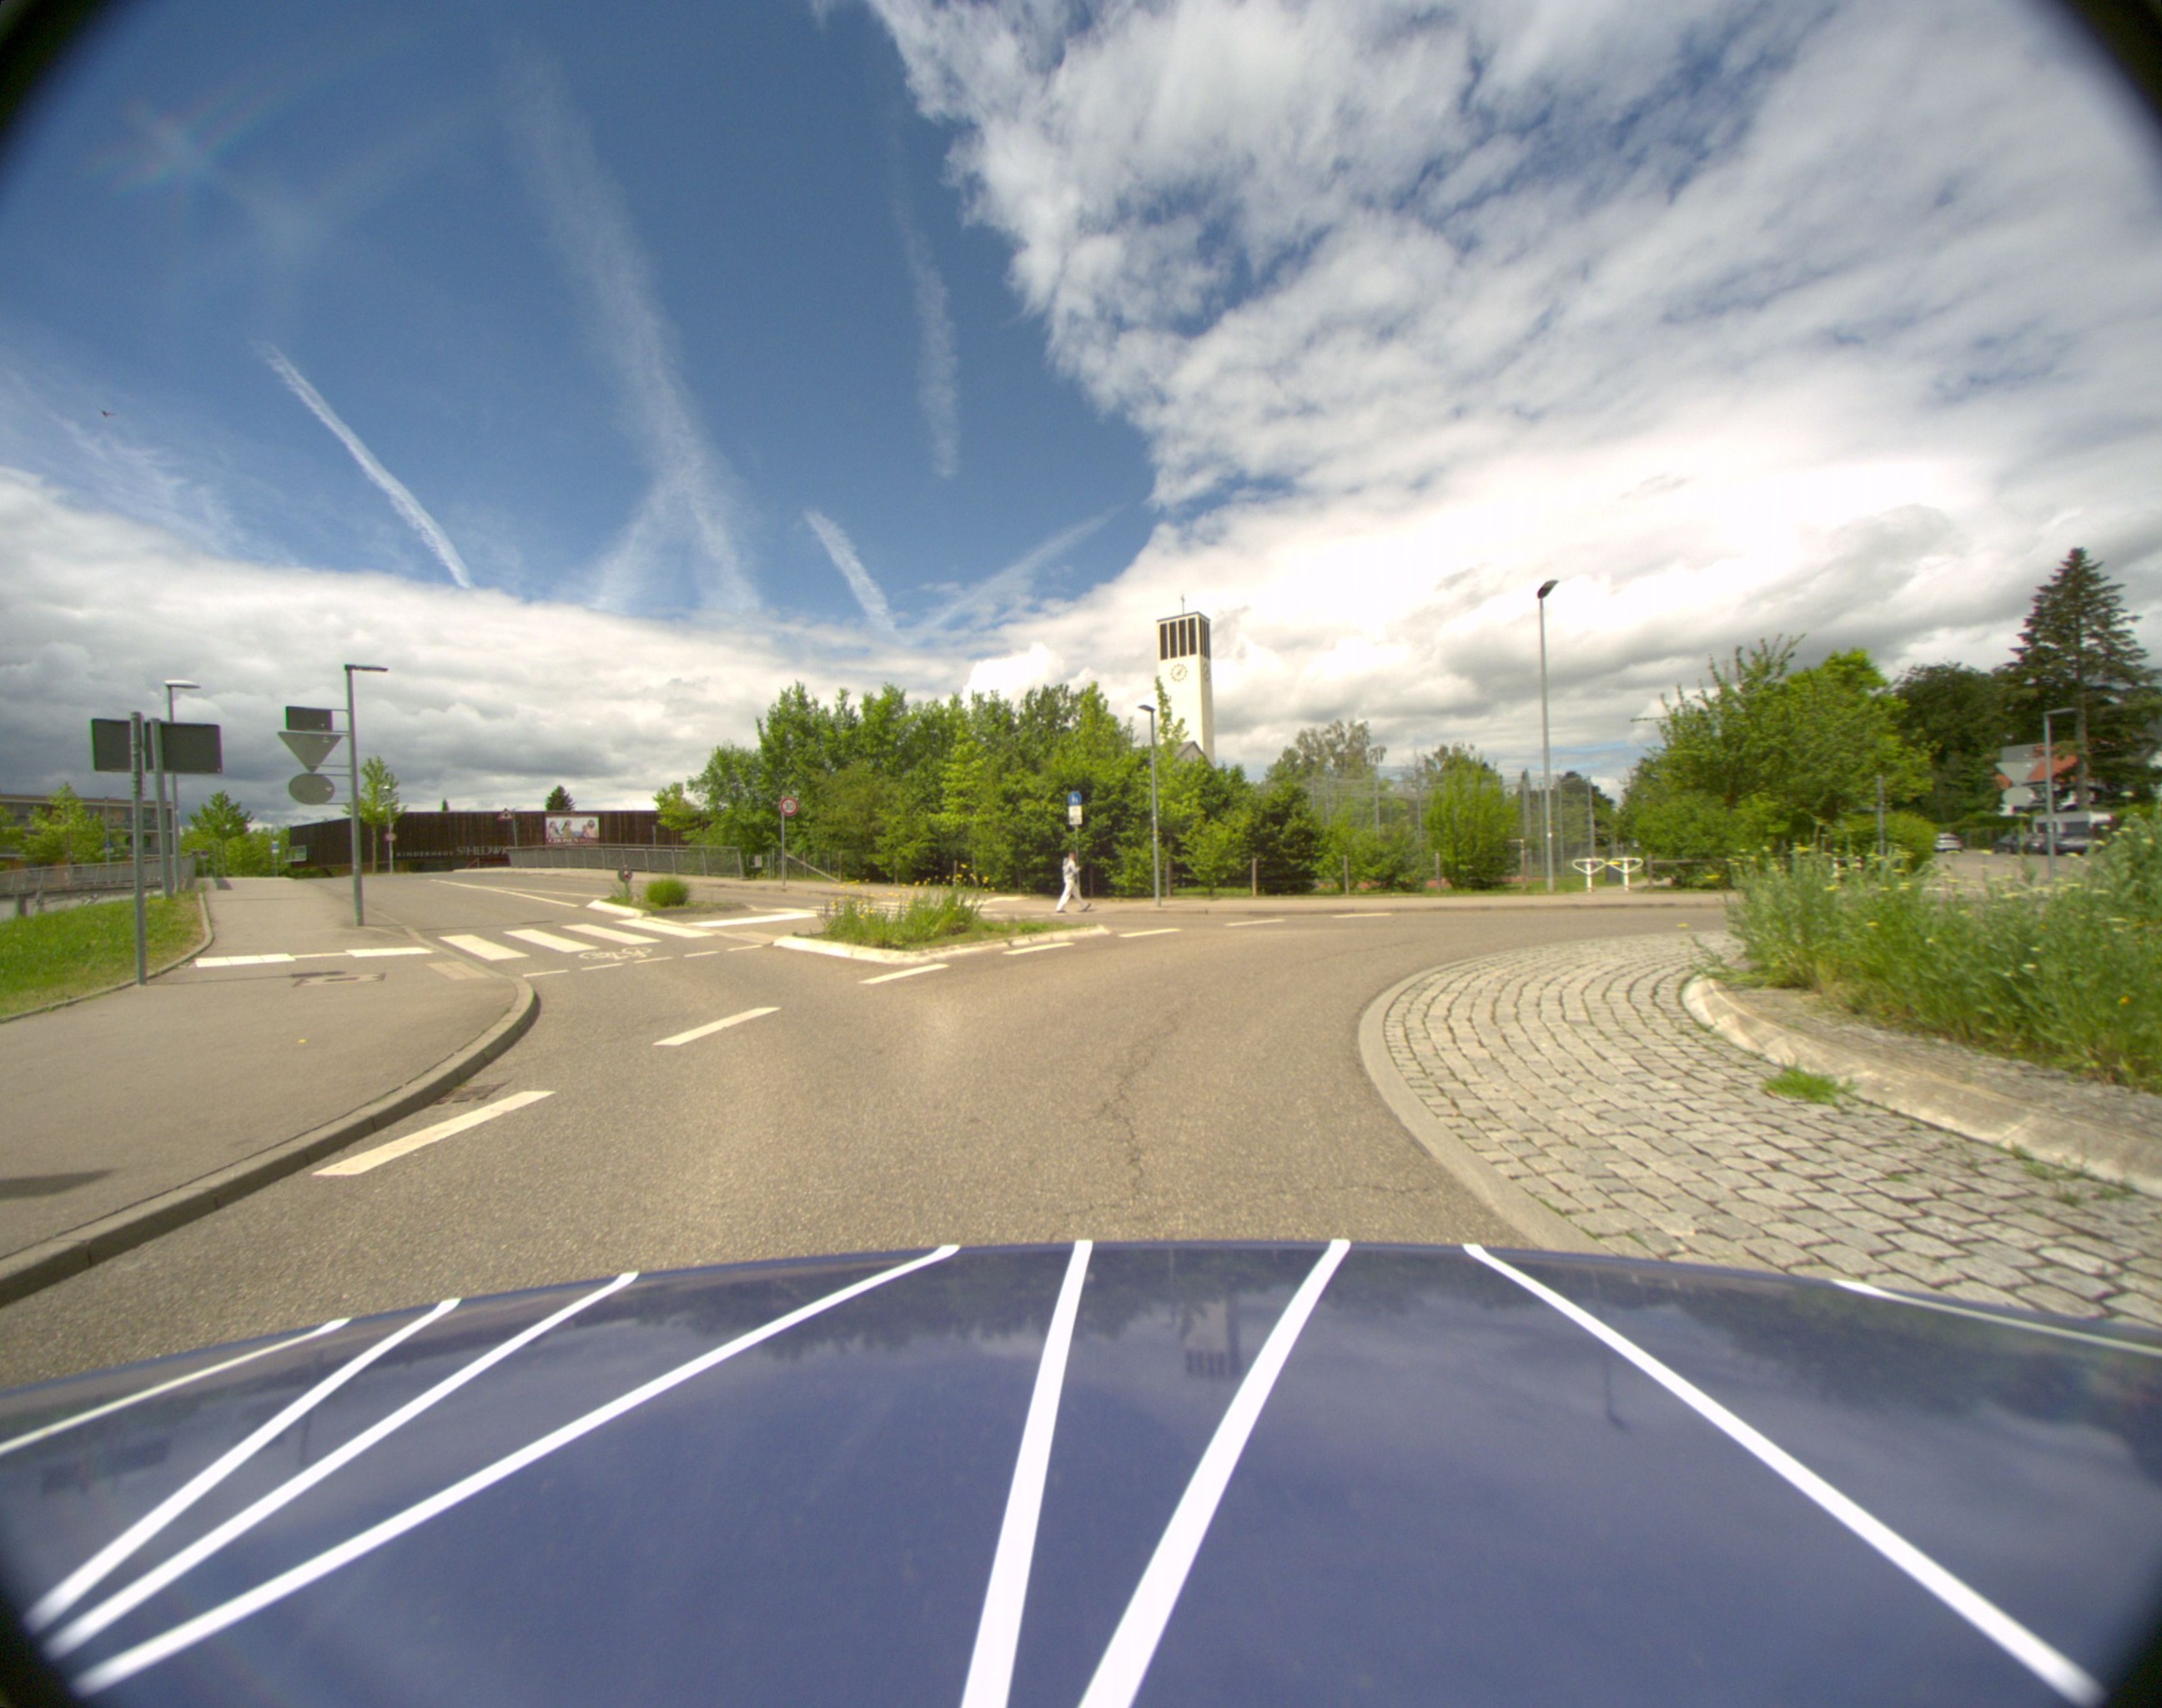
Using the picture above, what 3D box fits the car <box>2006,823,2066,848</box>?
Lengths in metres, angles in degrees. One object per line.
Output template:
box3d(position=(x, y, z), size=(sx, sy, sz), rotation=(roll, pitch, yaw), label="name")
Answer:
box3d(position=(66.998, -1.316, 53.354), size=(1.783, 1.568, 4.007), rotation=(-2, 1, 39), label="car")

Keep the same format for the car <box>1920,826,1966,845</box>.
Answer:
box3d(position=(83.122, -1.779, 73.344), size=(1.994, 1.696, 4.007), rotation=(0, 1, 34), label="car")

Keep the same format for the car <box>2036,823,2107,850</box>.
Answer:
box3d(position=(63.713, -1.148, 48.947), size=(1.859, 1.568, 4.007), rotation=(-2, 1, 39), label="car")

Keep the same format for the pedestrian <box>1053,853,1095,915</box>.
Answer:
box3d(position=(-0.168, 0.748, 19.494), size=(0.965, 1.524, 0.457), rotation=(-2, 0, -44), label="pedestrian")
